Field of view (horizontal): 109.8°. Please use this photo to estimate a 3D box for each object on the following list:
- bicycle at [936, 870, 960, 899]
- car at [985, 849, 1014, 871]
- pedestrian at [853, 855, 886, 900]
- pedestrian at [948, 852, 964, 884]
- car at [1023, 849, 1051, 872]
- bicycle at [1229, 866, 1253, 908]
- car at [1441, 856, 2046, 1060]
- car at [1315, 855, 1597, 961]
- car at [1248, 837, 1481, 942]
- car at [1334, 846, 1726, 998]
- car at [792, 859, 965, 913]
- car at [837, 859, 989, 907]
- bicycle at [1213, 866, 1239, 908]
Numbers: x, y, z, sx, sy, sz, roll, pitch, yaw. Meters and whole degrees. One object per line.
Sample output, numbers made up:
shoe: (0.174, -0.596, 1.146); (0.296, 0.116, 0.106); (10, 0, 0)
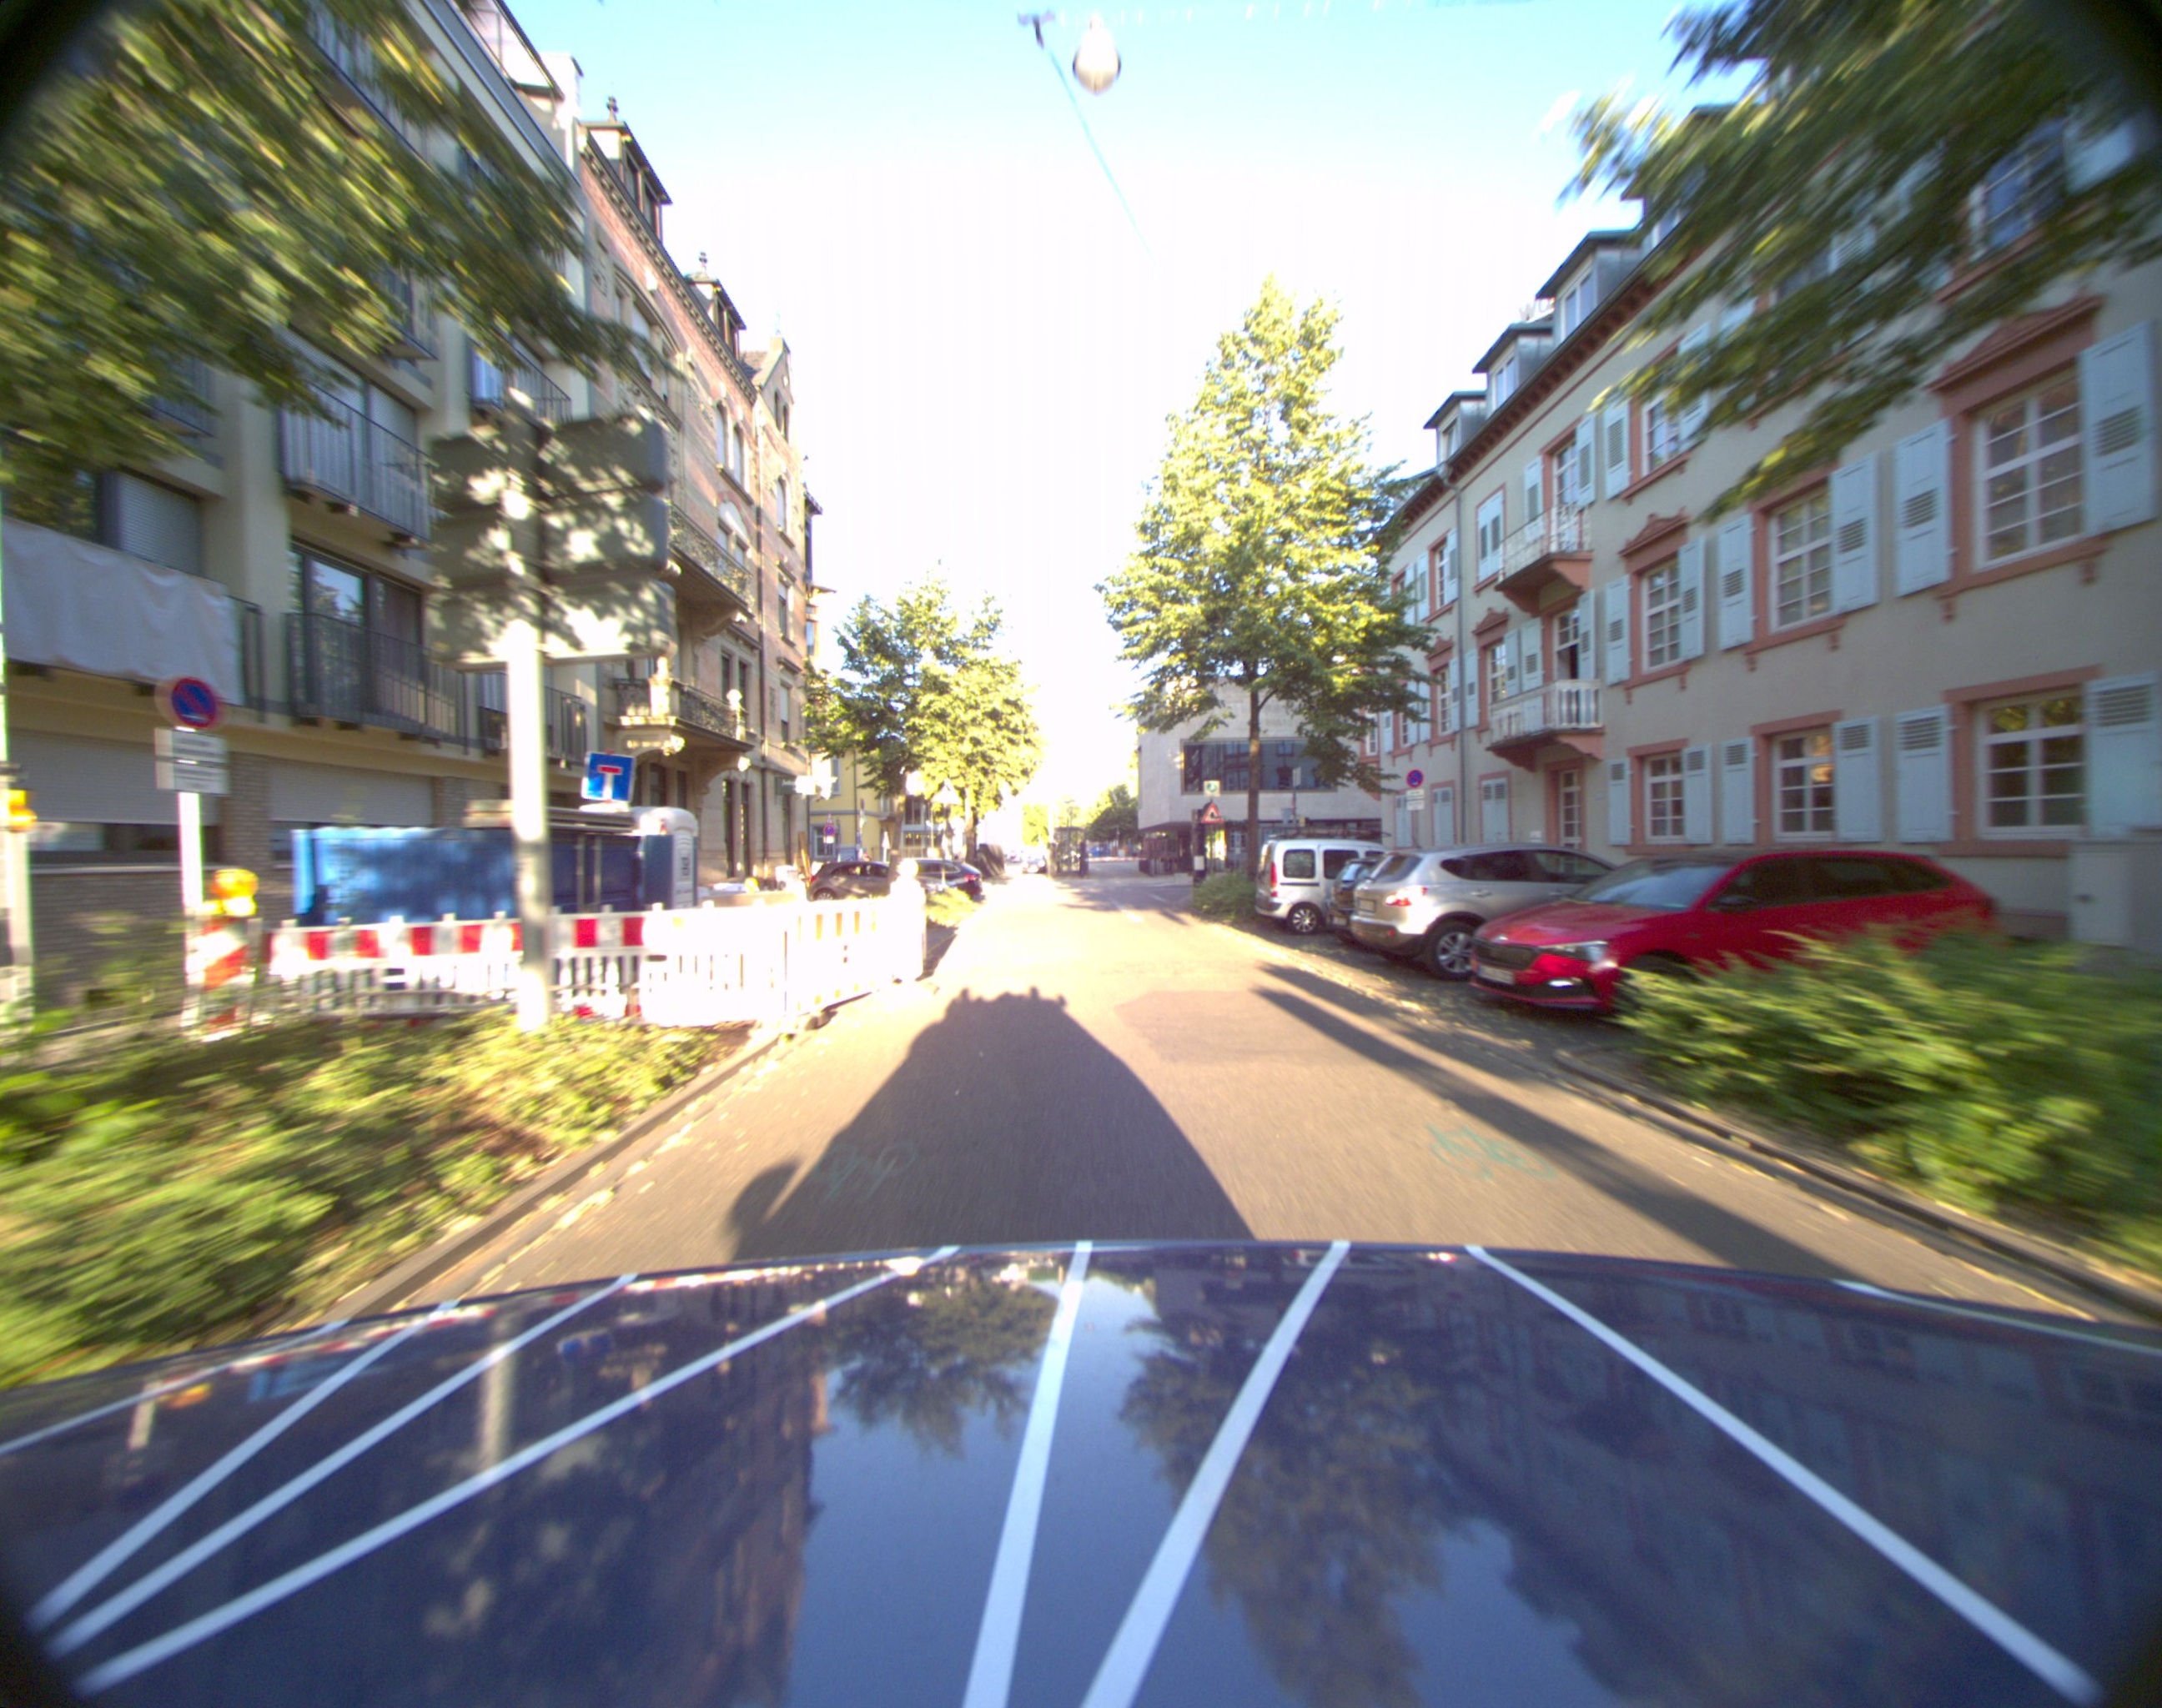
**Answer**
bicycle: (-4.897, 1.107, 28.074); (0.639, 1.008, 1.831); (-1, 0, -2)
car: (-6.874, 0.494, 64.641); (1.707, 1.727, 4.064); (1, 1, 5)
pedestrian: (-8.031, 0.865, 28.834); (0.962, 1.649, 0.638); (-2, 1, -43)
pedestrian: (-6.429, 0.718, 39.126); (0.672, 1.585, 0.469); (-1, 1, 11)
car: (-3.185, 0.445, 55.638); (1.709, 1.575, 3.679); (-1, 1, 1)
bicycle: (4.605, 0.938, 21.968); (0.331, 1.134, 1.596); (-3, 1, 1)
car: (5.839, 0.824, 7.022); (4.220, 1.507, 1.761); (-1, 1, -5)
car: (5.768, 0.810, 12.044); (3.658, 1.506, 1.649); (-1, 1, 4)
car: (5.281, 0.633, 14.529); (3.819, 1.839, 1.700); (-1, 1, 2)
car: (5.372, 0.763, 9.485); (3.834, 1.576, 1.741); (-2, 1, 1)
car: (-5.816, 0.893, 22.206); (4.537, 1.471, 1.867); (0, 1, 1)
car: (-5.392, 0.909, 24.790); (4.538, 1.502, 1.911); (0, 0, -1)
bicycle: (4.192, 0.935, 22.006); (0.396, 1.102, 1.712); (-3, 1, 1)
